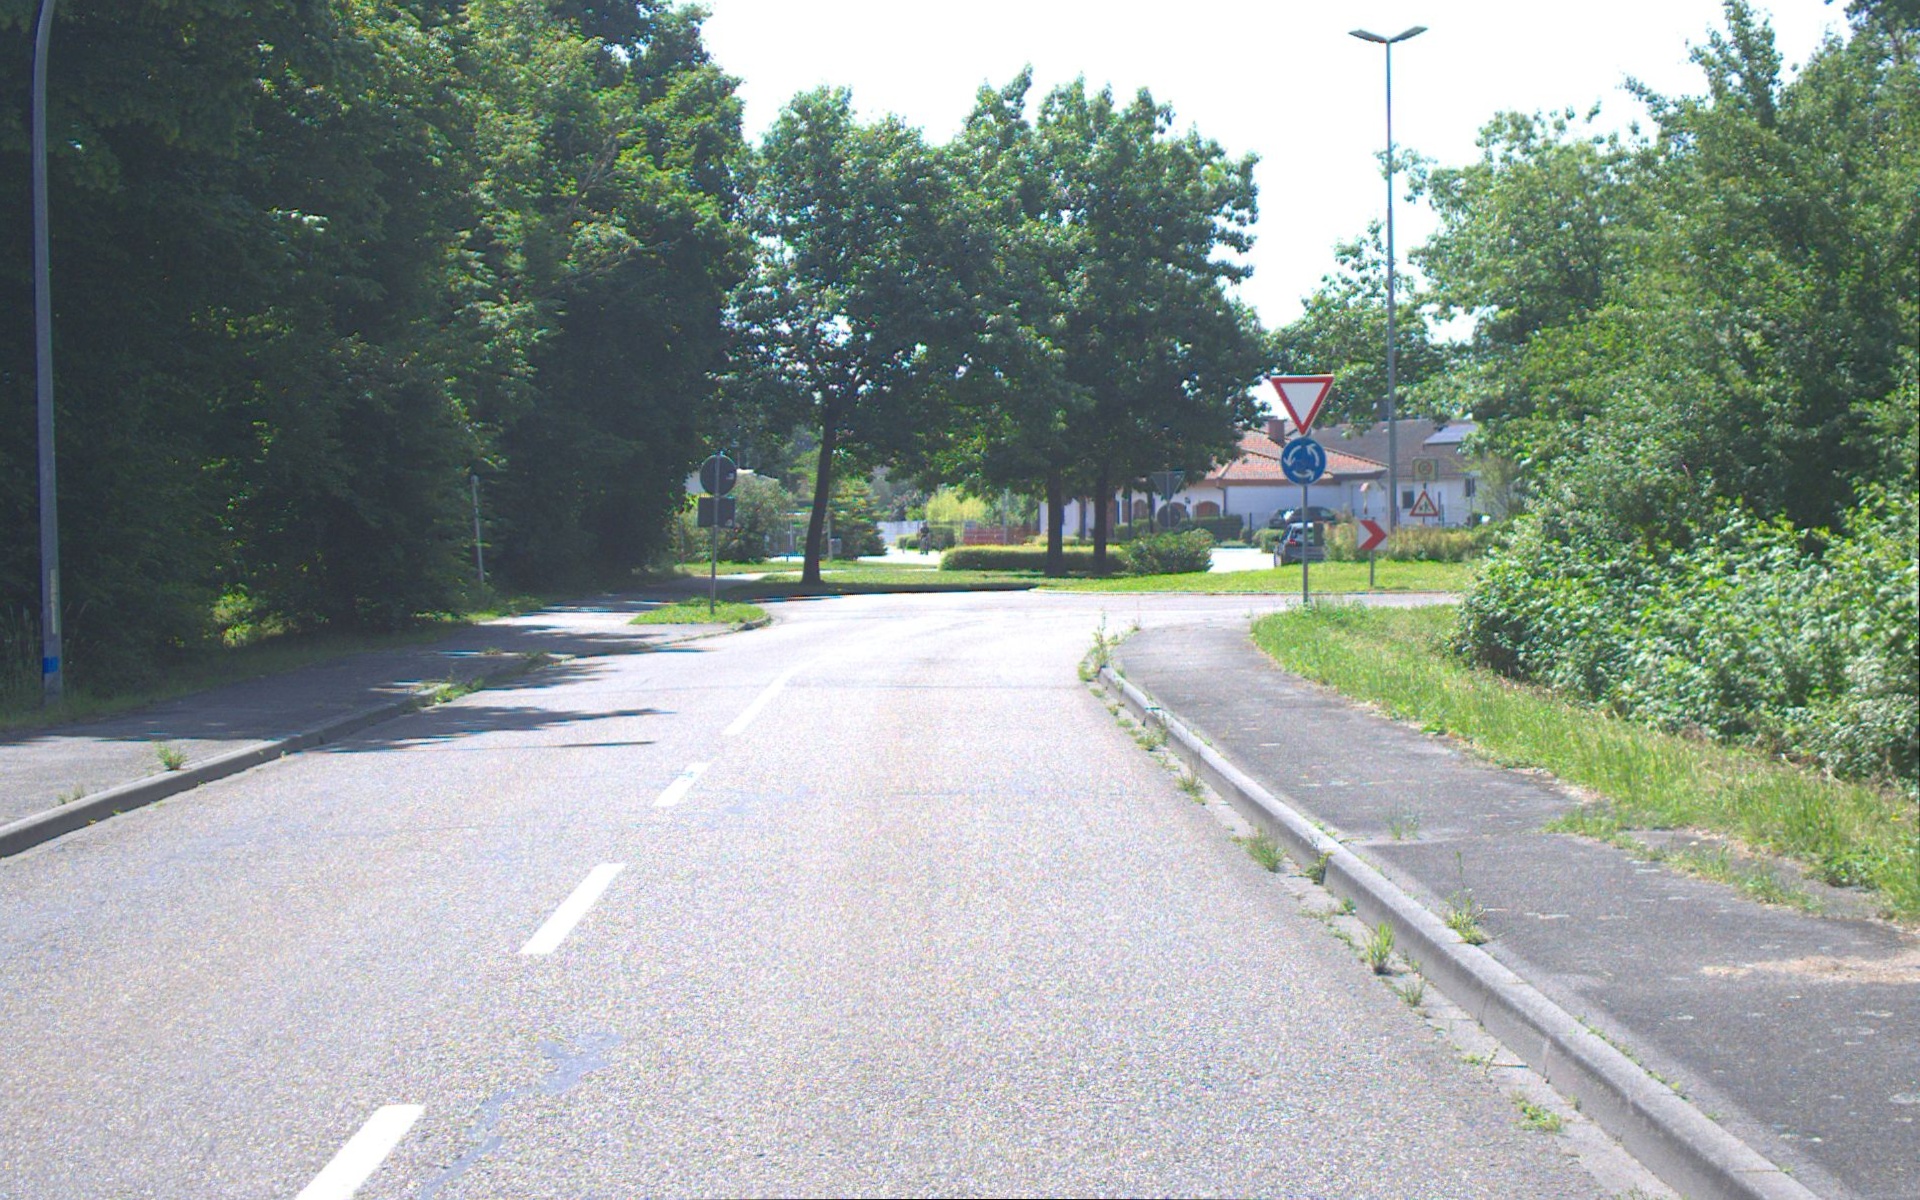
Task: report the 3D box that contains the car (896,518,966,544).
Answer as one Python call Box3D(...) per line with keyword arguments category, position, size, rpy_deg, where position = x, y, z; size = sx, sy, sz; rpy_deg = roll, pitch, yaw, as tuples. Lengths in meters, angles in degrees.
Box3D(category="car", position=(-1.535, -3.615, 180.221), size=(1.993, 1.284, 4.000), rpy_deg=(-1, 1, -29))

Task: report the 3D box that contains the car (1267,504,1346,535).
Box3D(category="car", position=(17.405, -4.037, 172.483), size=(3.826, 1.537, 1.853), rpy_deg=(-2, 2, -42))

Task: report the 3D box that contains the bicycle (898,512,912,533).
Box3D(category="bicycle", position=(-2.430, -3.433, 153.009), size=(0.597, 0.925, 1.620), rpy_deg=(-1, 1, -1))

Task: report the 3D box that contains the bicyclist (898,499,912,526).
Box3D(category="bicyclist", position=(-2.437, -3.896, 152.899), size=(0.597, 1.160, 0.648), rpy_deg=(-1, 1, -1))

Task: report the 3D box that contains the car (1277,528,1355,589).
Box3D(category="car", position=(9.271, -1.096, 89.779), size=(1.628, 1.481, 4.000), rpy_deg=(-1, 2, 1))
